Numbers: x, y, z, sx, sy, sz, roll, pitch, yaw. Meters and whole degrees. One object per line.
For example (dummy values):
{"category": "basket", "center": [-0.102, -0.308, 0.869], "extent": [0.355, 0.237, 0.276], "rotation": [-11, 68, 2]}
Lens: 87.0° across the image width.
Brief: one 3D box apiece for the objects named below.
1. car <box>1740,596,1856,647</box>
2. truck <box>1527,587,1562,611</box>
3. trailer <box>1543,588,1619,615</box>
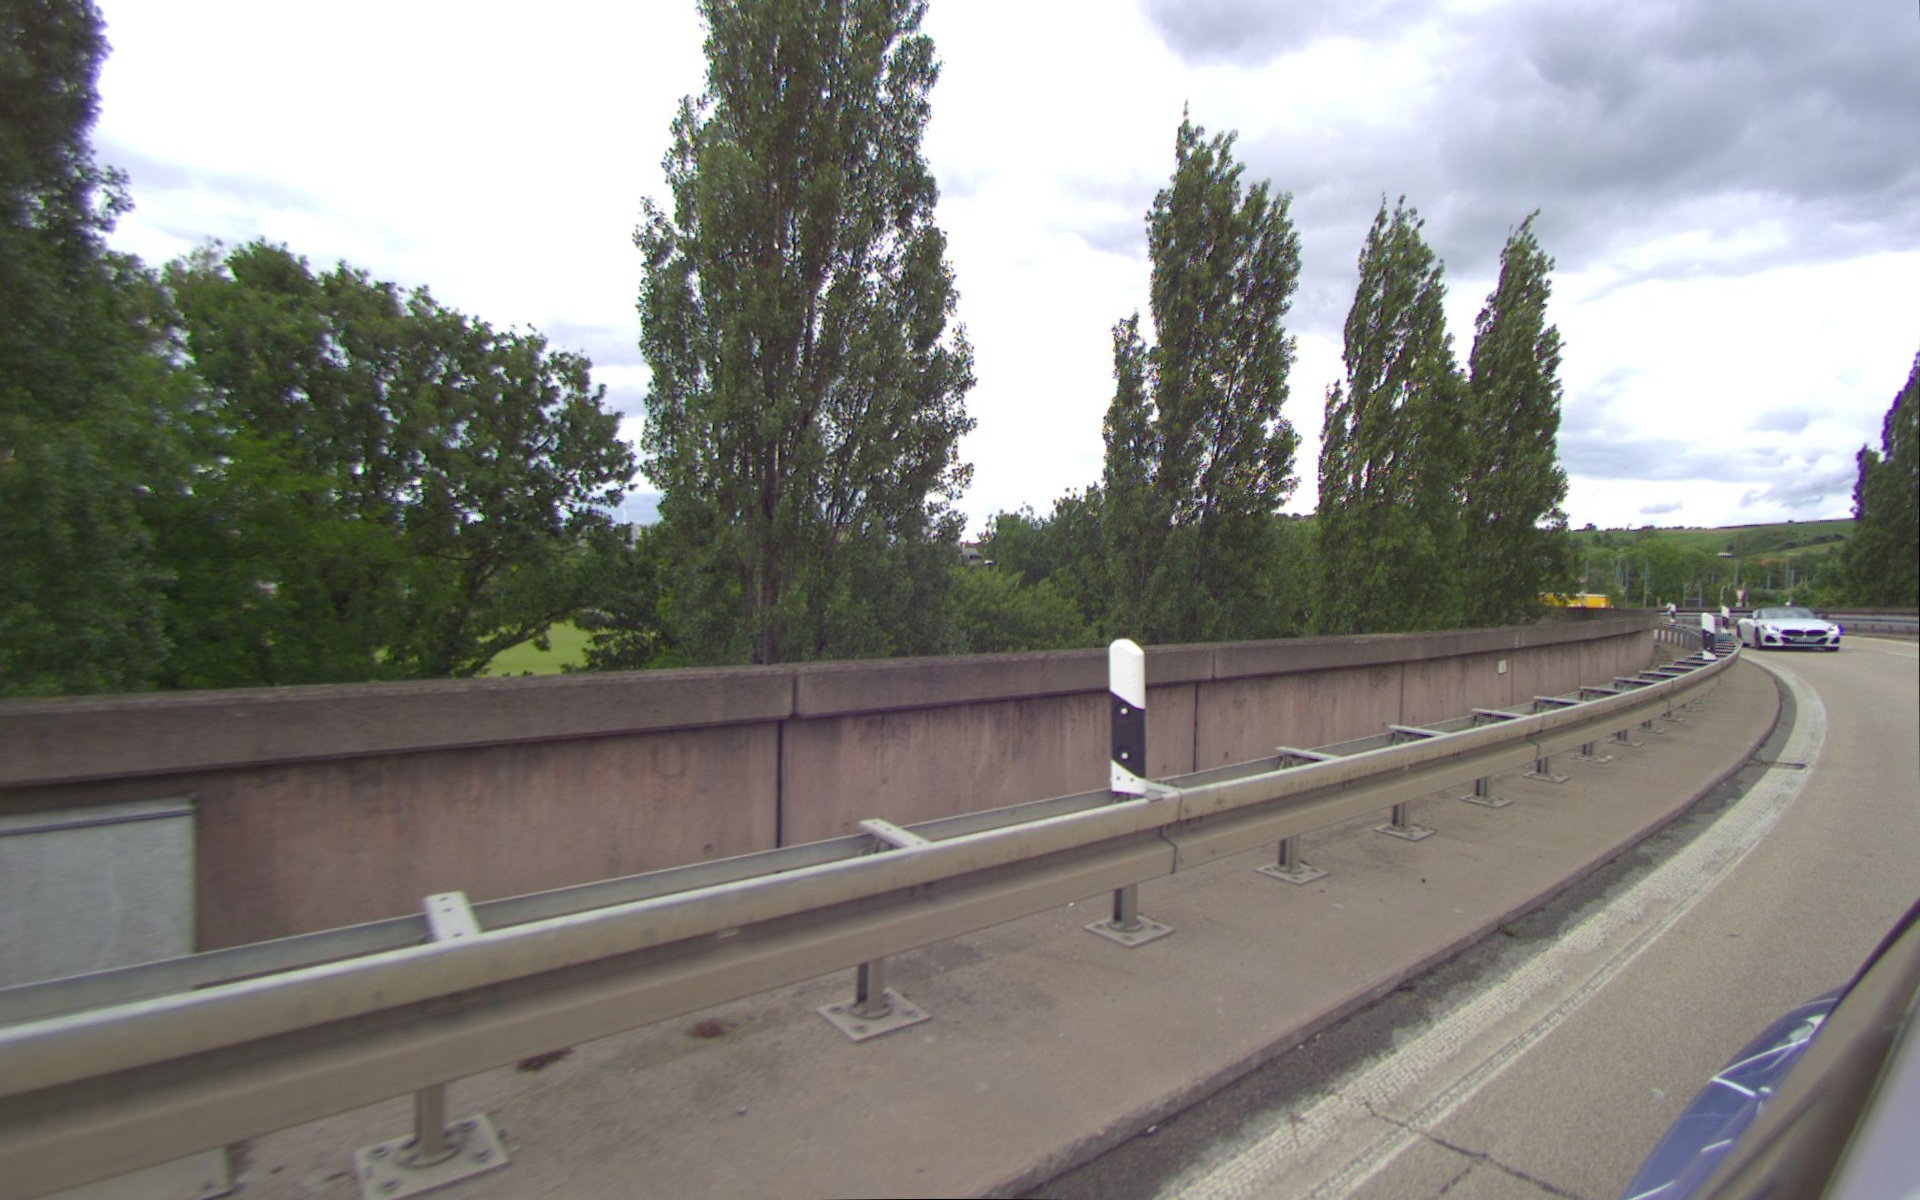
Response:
{"category": "car", "center": [24.897, 0.580, 30.254], "extent": [1.848, 1.361, 4.774], "rotation": [0, 1, 30]}
{"category": "truck", "center": [110.070, -0.190, 190.614], "extent": [2.585, 4.255, 5.105], "rotation": [0, 3, -35]}
{"category": "trailer", "center": [113.647, 0.164, 185.416], "extent": [2.585, 4.255, 11.662], "rotation": [0, 3, -34]}
